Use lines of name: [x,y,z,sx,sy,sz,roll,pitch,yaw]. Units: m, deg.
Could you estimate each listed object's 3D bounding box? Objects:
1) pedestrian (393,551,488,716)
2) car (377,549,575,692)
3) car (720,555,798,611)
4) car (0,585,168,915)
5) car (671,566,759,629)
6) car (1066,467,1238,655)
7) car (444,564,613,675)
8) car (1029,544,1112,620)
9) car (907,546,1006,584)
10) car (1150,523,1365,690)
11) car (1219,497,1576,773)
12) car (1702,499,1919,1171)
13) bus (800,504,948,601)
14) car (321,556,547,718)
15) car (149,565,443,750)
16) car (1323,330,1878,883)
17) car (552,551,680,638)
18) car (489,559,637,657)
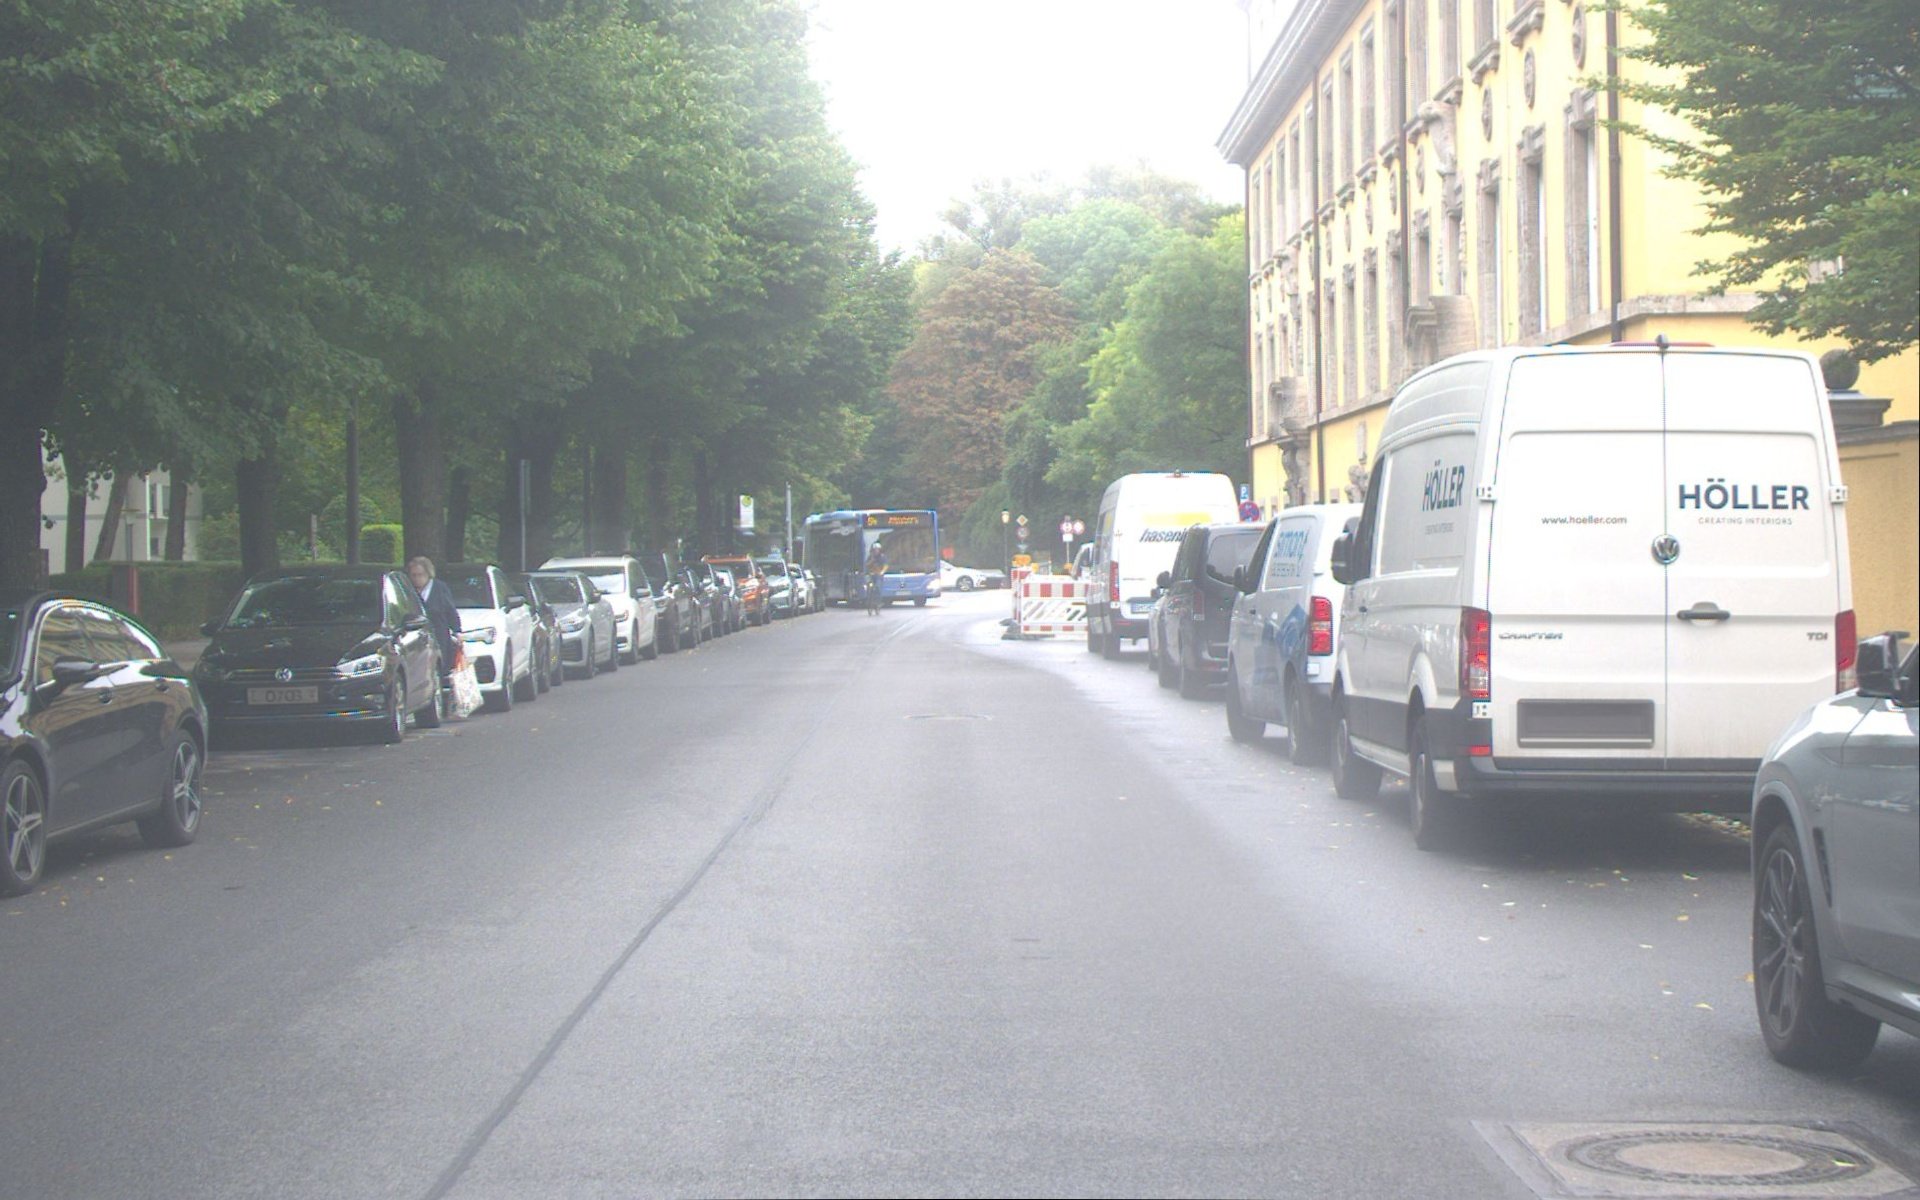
pedestrian: [-5.103,0.317,33.787,0.883,1.592,0.823,-1,1,-7]
car: [-5.796,0.204,41.611,1.993,1.614,4.130,-1,1,-3]
car: [-5.295,-0.476,90.931,1.993,1.415,4.001,-1,1,-3]
car: [-5.348,0.665,17.191,1.993,1.415,4.130,-1,1,-3]
car: [-5.796,-0.070,81.823,1.993,1.415,4.001,-1,1,-3]
car: [2.763,-0.586,50.470,1.839,2.613,4.385,-1,1,-5]
car: [-5.871,0.234,47.156,1.993,1.415,4.001,-1,1,-3]
car: [2.647,-0.450,81.657,1.805,1.730,4.000,-1,1,4]
car: [-0.153,-1.439,140.435,3.986,1.541,2.000,0,1,-2]
car: [3.137,0.034,36.985,1.794,1.673,4.000,-1,1,-2]
car: [3.176,0.210,25.746,1.993,1.876,4.000,-1,1,-2]
car: [3.313,0.553,8.296,1.993,1.629,4.564,-1,1,-1]
bus: [-2.790,-1.489,108.354,2.936,2.909,8.242,-1,1,-14]
car: [-5.615,0.352,37.154,1.993,1.614,4.130,-1,1,-3]
car: [-5.823,0.455,30.605,1.993,1.481,4.130,-1,1,-3]
car: [3.282,-0.011,18.778,1.993,2.549,5.430,-1,1,0]
car: [-5.916,-0.117,59.434,1.993,1.415,4.001,-1,1,-3]
car: [-6.056,0.096,52.860,1.993,1.415,4.001,-1,1,-3]
